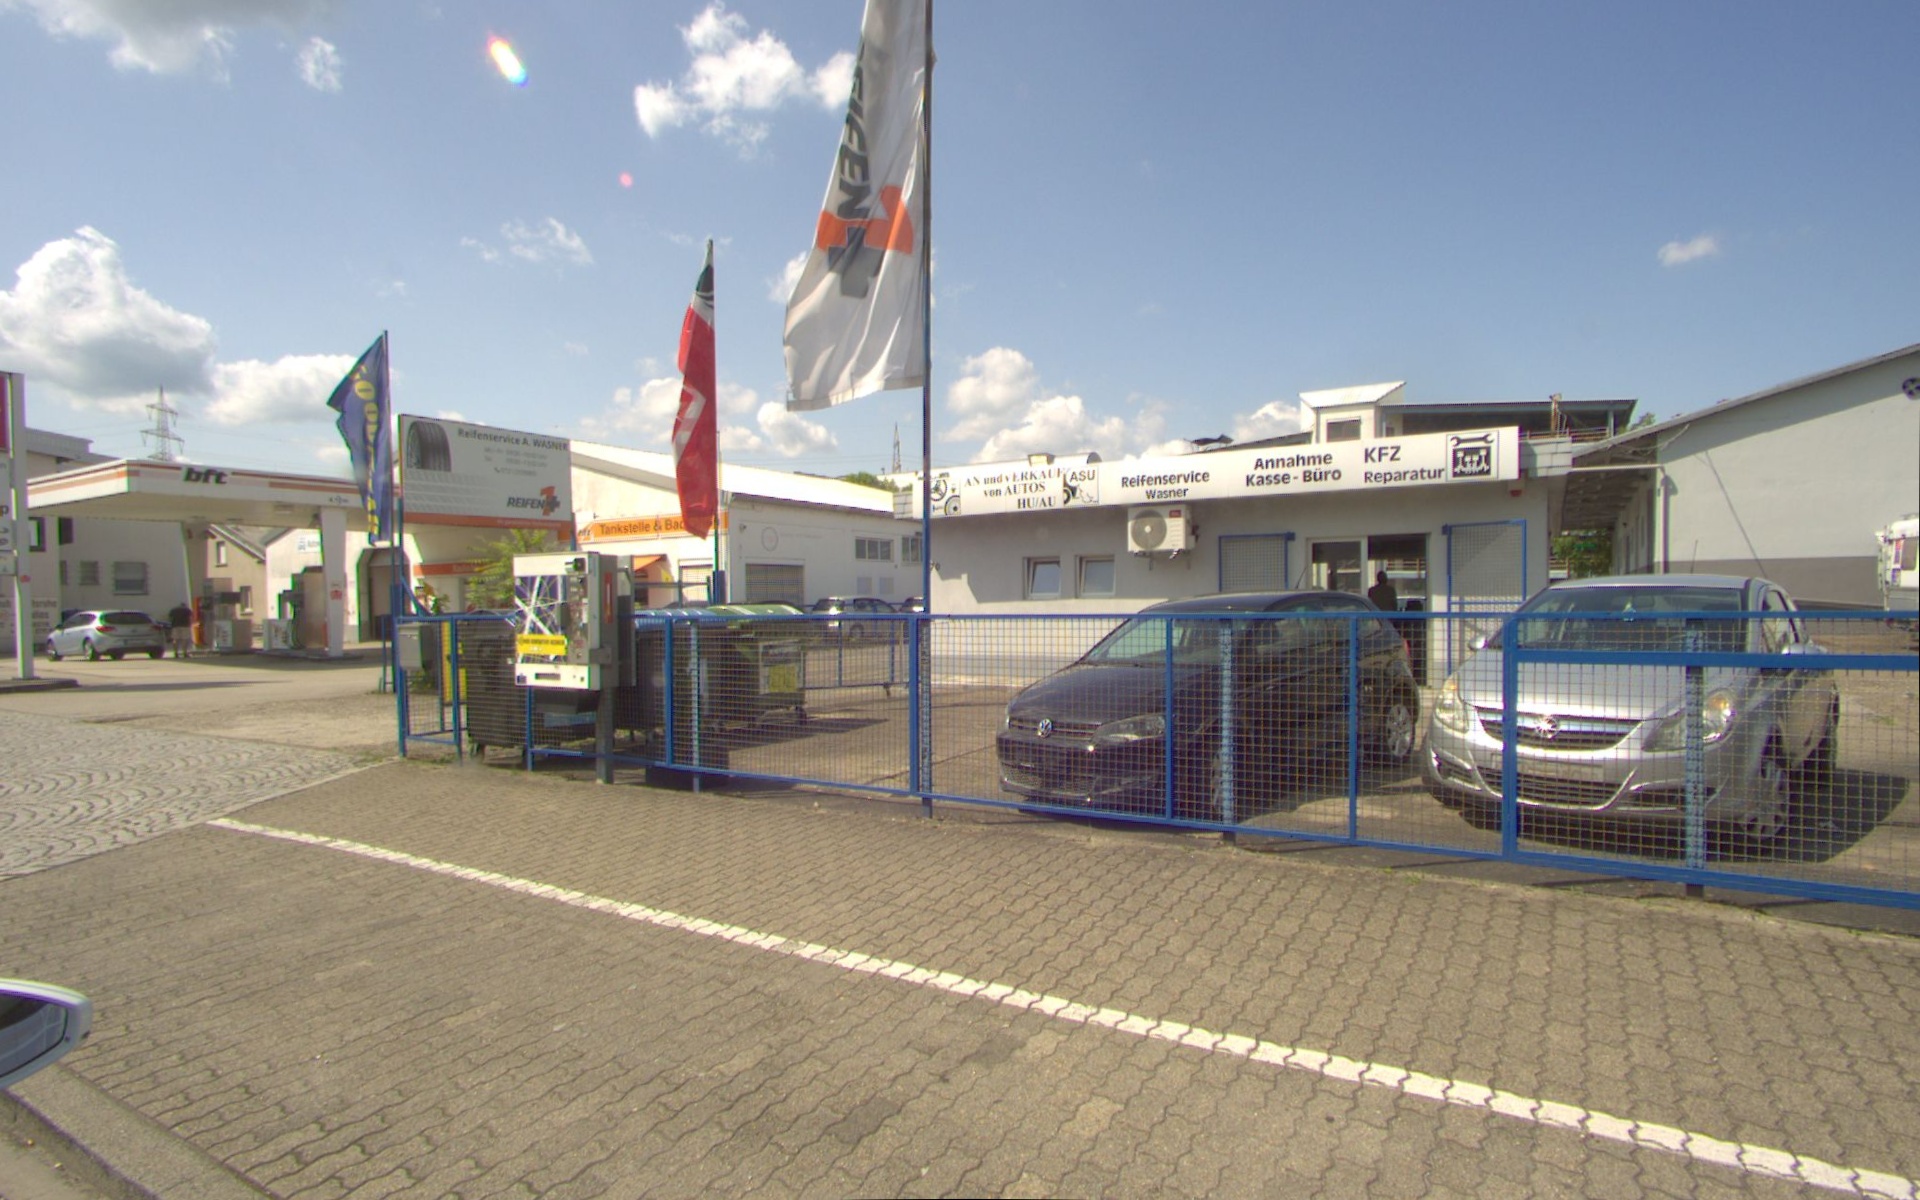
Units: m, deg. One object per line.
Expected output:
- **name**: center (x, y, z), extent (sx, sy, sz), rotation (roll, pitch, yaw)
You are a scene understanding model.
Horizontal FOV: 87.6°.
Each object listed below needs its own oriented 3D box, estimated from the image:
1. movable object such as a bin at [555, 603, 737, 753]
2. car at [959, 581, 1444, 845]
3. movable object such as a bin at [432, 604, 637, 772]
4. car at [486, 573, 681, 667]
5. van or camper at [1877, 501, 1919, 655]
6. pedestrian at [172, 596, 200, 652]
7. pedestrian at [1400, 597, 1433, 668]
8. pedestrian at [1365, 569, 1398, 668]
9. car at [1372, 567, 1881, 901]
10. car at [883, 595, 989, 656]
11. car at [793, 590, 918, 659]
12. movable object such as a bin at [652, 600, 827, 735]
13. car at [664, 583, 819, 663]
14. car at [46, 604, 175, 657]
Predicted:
- **movable object such as a bin**: center (-3.364, 0.775, 10.787), extent (1.434, 1.473, 1.224), rotation (0, 1, 31)
- **car**: center (2.022, 0.627, 7.651), extent (3.962, 1.499, 1.705), rotation (-1, 1, -43)
- **movable object such as a bin**: center (-4.125, 0.784, 9.748), extent (1.434, 1.473, 1.224), rotation (0, 1, 31)
- **car**: center (-8.907, 0.436, 23.984), extent (1.971, 2.040, 3.979), rotation (0, 0, 32)
- **van or camper**: center (21.353, -0.459, 19.325), extent (4.983, 3.002, 2.276), rotation (0, 1, 31)
- **pedestrian**: center (-23.734, 0.730, 30.717), extent (0.628, 1.705, 0.618), rotation (-1, 1, -36)
- **pedestrian**: center (7.986, 0.562, 17.528), extent (0.480, 1.229, 0.499), rotation (0, 1, 30)
- **pedestrian**: center (7.399, 0.325, 17.566), extent (0.480, 1.710, 0.499), rotation (0, 1, 30)
- **car**: center (4.509, 0.587, 6.514), extent (4.104, 1.499, 1.787), rotation (-1, 0, -42)
- **car**: center (-0.799, 0.863, 35.880), extent (1.971, 2.040, 3.979), rotation (0, 0, 32)
- **car**: center (-3.258, 0.728, 31.990), extent (1.971, 2.040, 3.979), rotation (0, 0, 32)
- **movable object such as a bin**: center (-2.599, 0.743, 11.902), extent (1.433, 1.473, 1.427), rotation (0, 1, 31)
- **car**: center (-5.942, 0.572, 27.638), extent (1.971, 2.040, 3.979), rotation (0, 0, 32)
- **car**: center (-25.828, 0.890, 30.436), extent (3.950, 1.499, 1.829), rotation (-1, 1, 31)
